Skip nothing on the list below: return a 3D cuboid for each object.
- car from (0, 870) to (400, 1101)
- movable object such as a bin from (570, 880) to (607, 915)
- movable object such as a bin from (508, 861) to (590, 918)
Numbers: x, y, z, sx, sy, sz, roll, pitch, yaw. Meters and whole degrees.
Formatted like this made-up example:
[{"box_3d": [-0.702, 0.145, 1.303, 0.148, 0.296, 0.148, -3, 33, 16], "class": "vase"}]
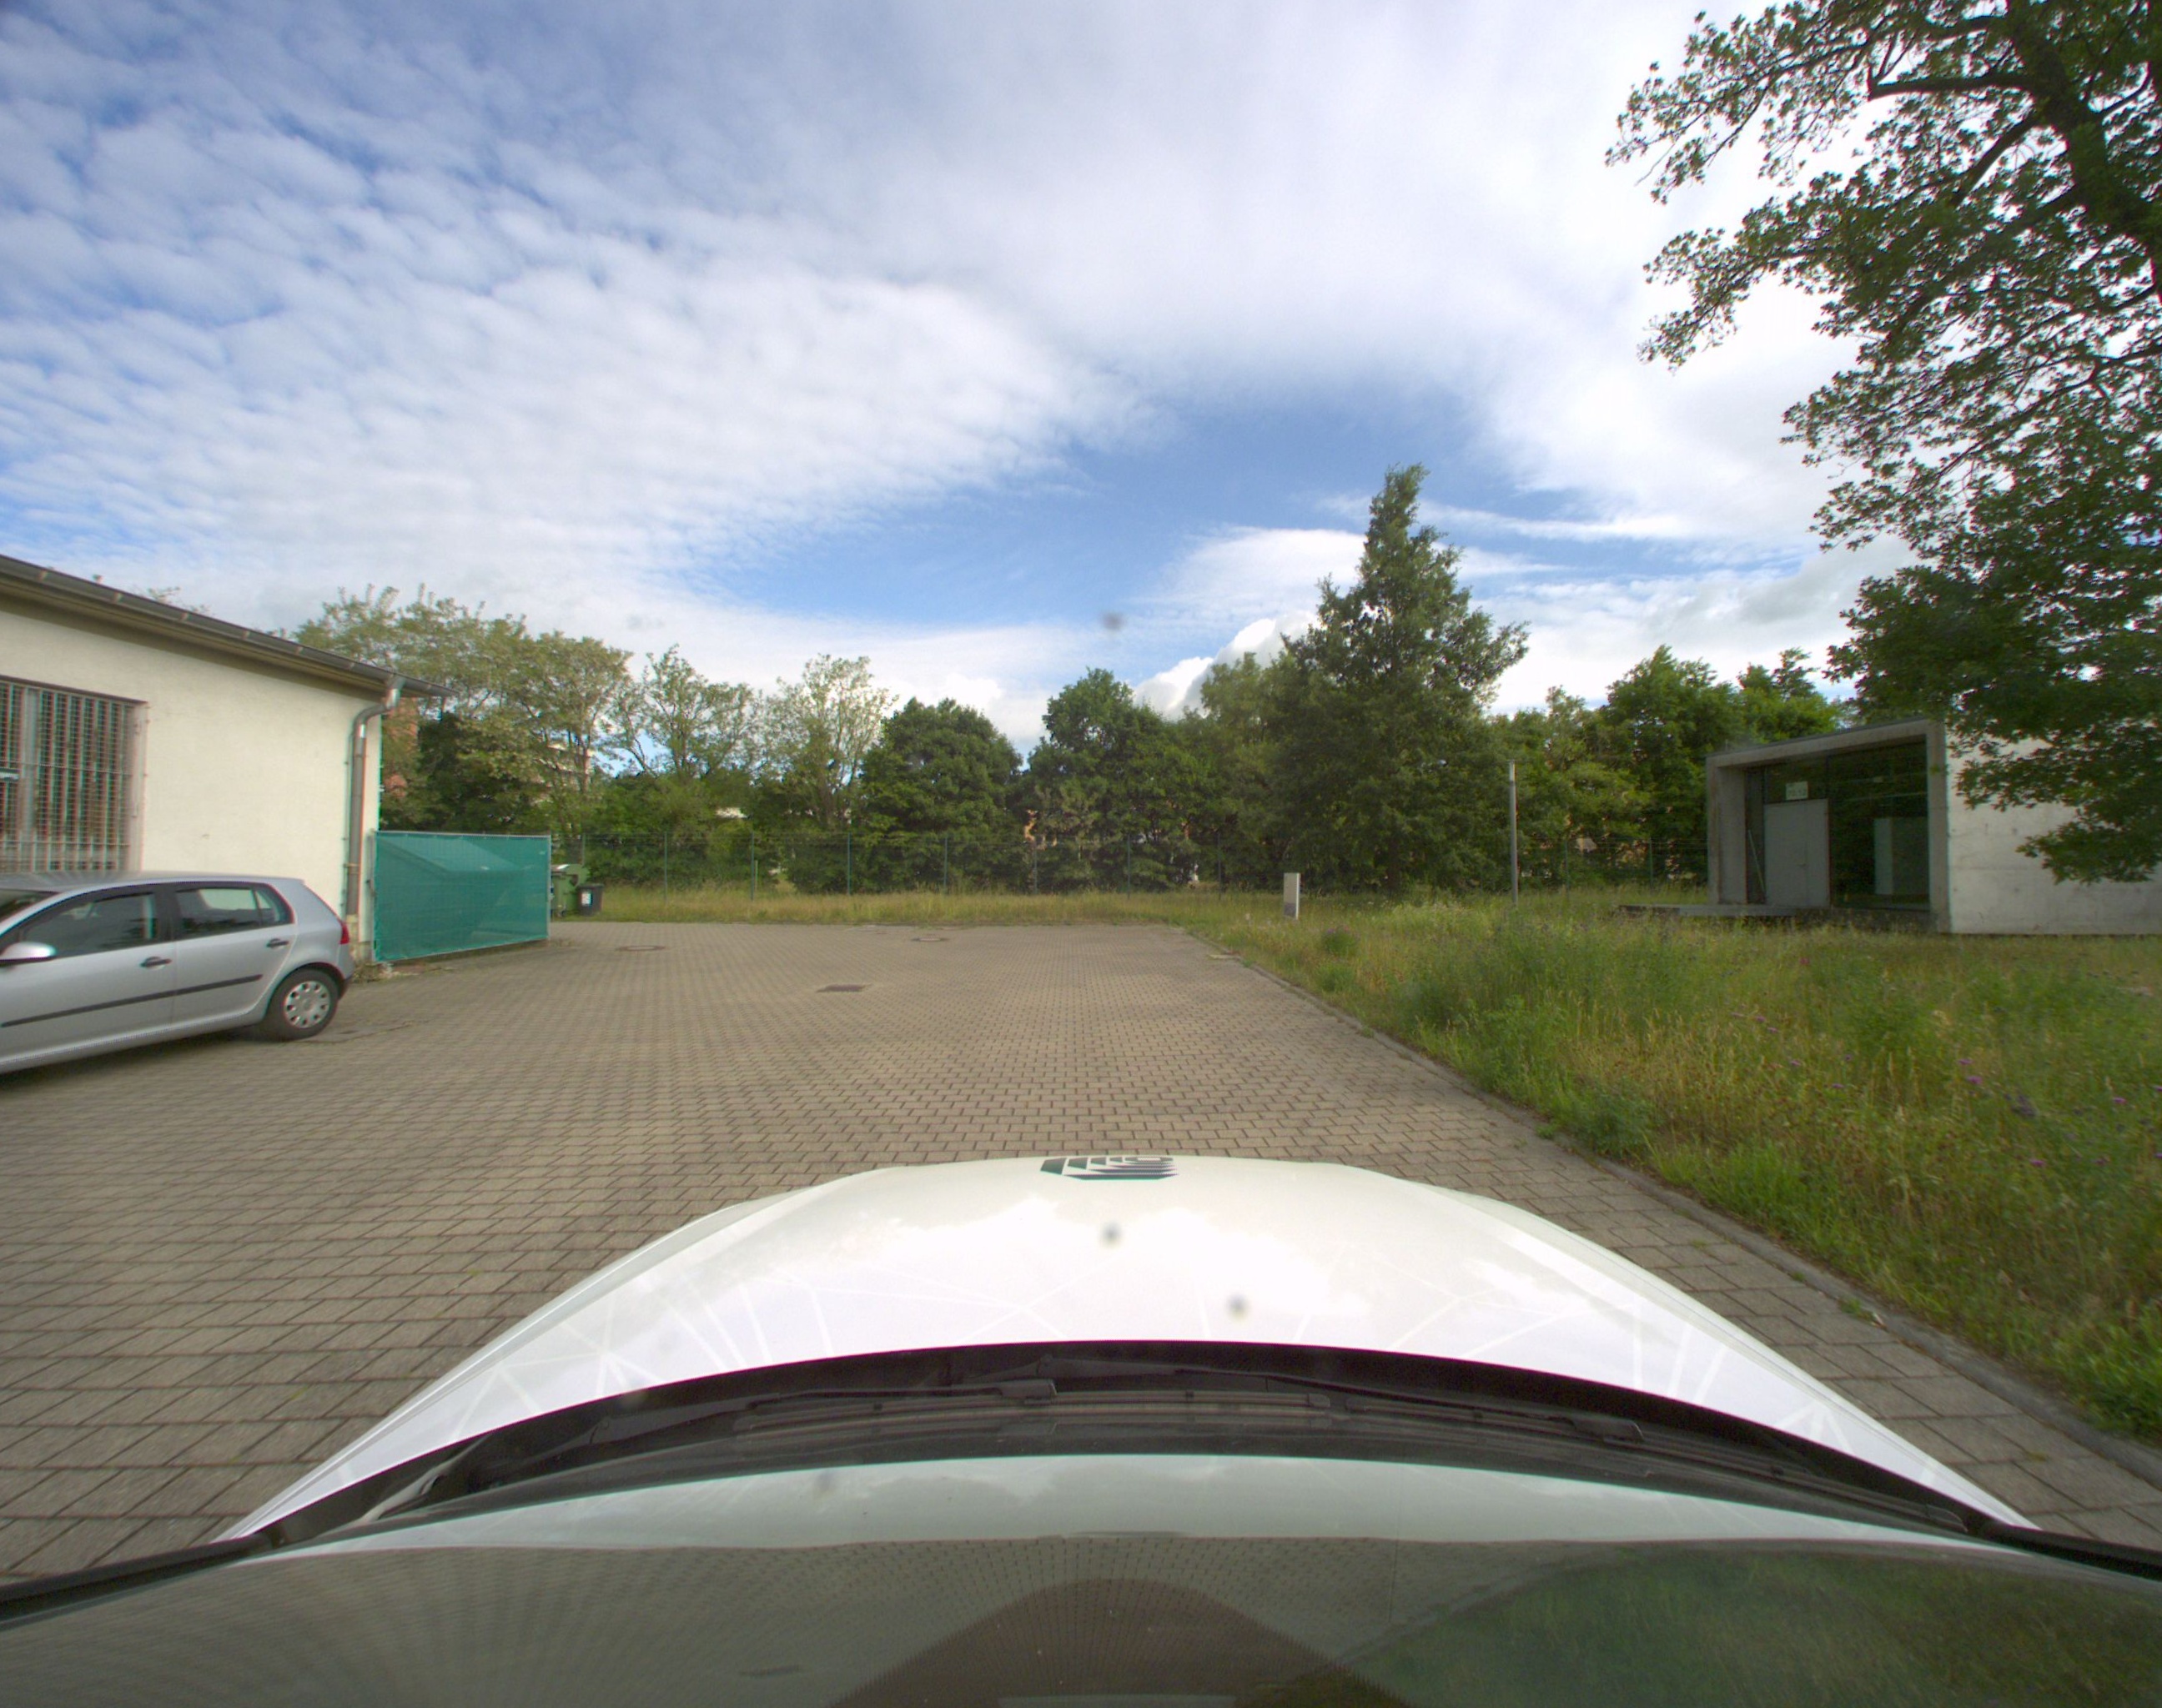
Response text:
[{"box_3d": [-7.824, 0.860, 6.051, 1.919, 1.439, 4.364, 0, -1, -2], "class": "car"}, {"box_3d": [-12.745, 1.124, 21.087, 0.580, 0.866, 0.603, -1, -1, 7], "class": "movable object such as a bin"}, {"box_3d": [-13.713, 0.906, 21.042, 1.344, 1.395, 1.134, -1, -1, 7], "class": "movable object such as a bin"}]
